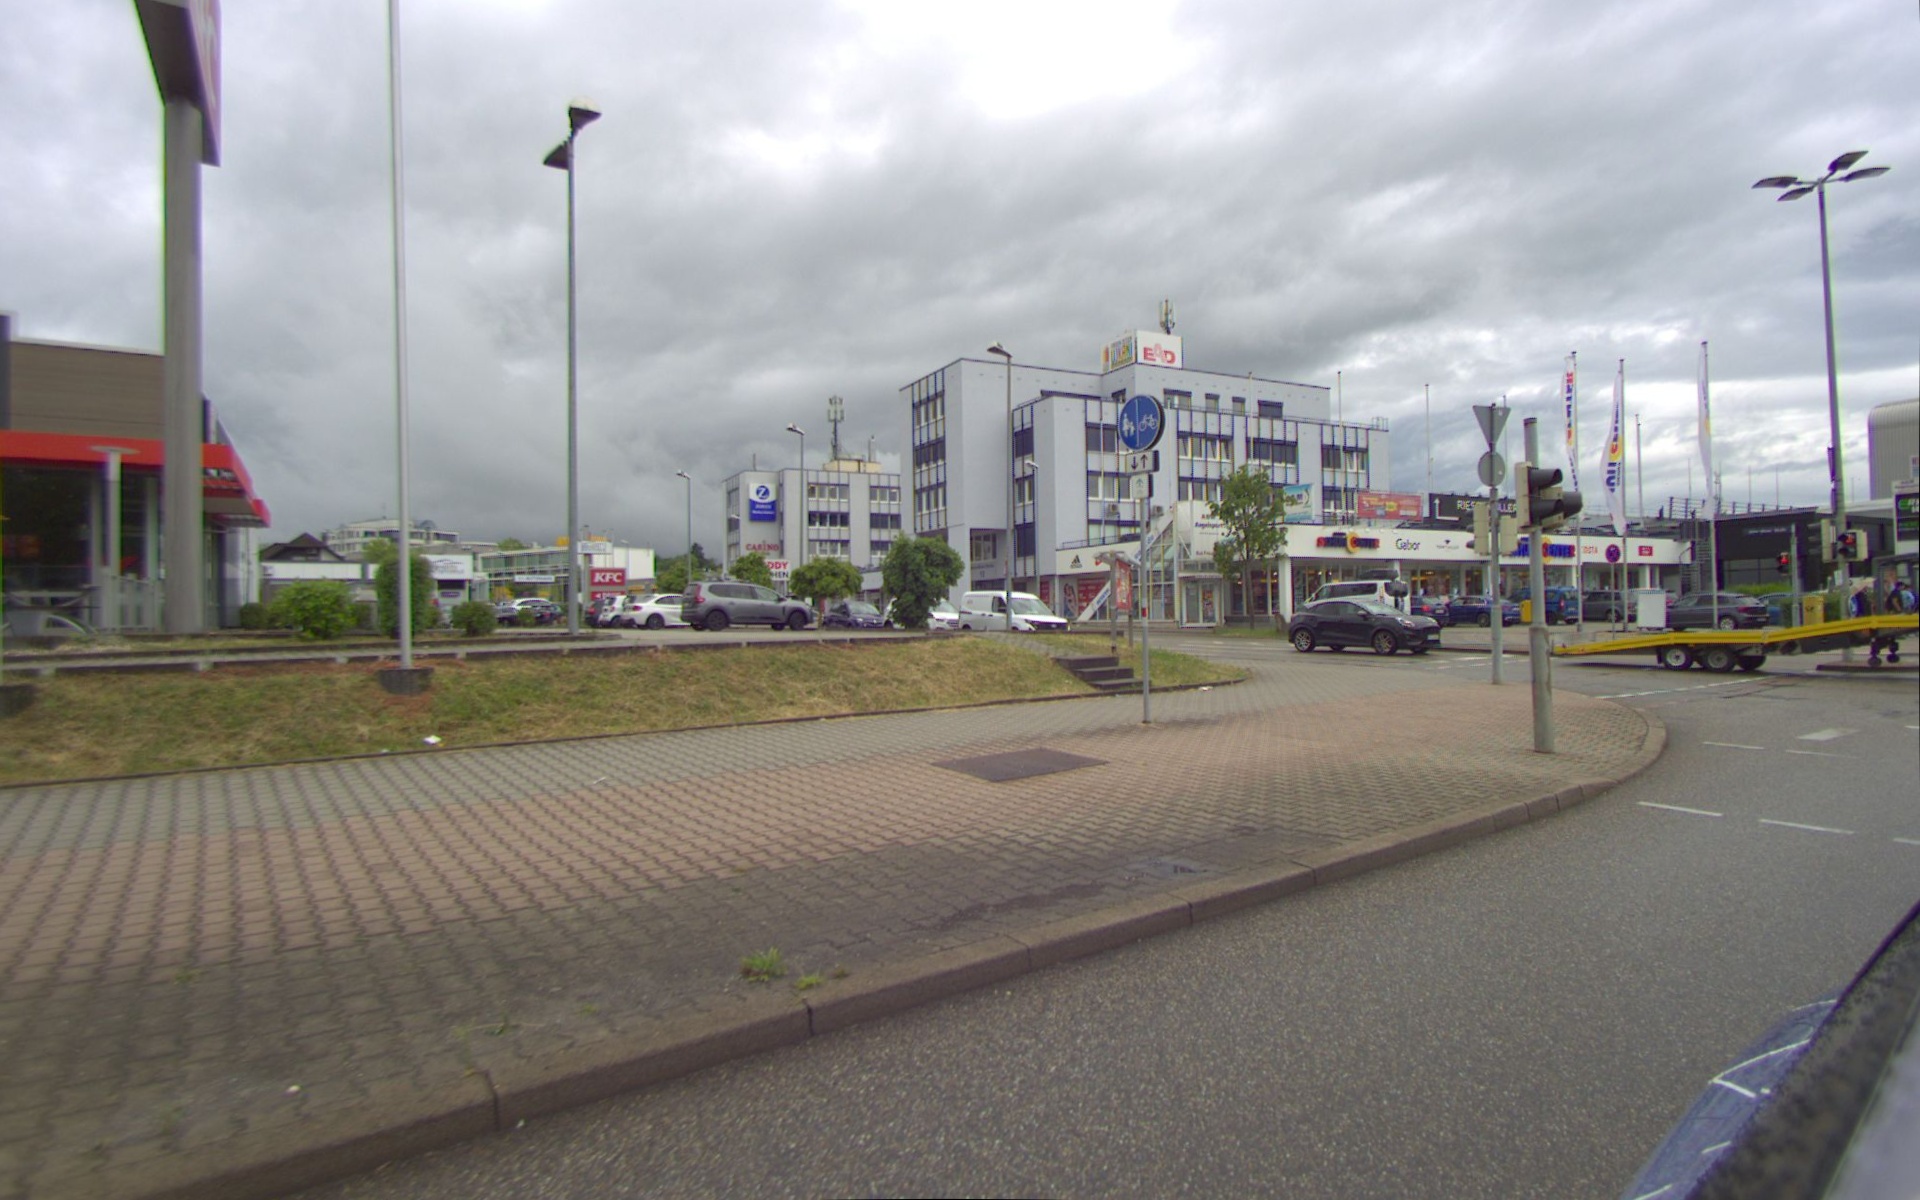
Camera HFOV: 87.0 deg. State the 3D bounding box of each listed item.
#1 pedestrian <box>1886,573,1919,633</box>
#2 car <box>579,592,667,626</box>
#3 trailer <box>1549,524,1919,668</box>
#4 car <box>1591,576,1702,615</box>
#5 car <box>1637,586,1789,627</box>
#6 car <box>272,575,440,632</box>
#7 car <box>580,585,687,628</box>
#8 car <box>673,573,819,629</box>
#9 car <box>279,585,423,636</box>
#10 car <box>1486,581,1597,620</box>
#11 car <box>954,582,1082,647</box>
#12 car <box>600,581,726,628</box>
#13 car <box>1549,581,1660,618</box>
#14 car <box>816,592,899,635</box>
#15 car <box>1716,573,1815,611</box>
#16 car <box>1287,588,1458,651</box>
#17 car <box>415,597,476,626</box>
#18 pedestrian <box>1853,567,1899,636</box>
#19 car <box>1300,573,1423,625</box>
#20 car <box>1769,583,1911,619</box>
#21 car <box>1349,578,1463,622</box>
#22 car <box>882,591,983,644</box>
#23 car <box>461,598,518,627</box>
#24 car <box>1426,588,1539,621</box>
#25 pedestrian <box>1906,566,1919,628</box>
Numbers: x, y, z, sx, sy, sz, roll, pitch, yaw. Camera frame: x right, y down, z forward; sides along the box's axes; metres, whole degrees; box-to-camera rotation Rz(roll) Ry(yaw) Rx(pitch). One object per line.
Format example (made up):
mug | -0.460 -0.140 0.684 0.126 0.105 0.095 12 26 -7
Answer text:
pedestrian | 29.926 0.081 31.968 0.683 1.879 0.817 -2 2 -27
car | -16.088 0.402 48.379 3.674 1.533 1.735 -1 0 -35
trailer | 16.381 -0.034 19.976 2.267 2.506 7.967 0 -1 -36
car | 35.266 -0.221 52.105 1.858 1.930 4.381 0 0 -27
car | 27.624 0.227 37.282 1.785 1.411 4.134 0 0 -24
car | -19.912 0.111 33.449 4.654 1.762 1.892 0 0 -36
car | -14.304 0.250 44.360 4.105 1.797 1.882 0 0 -34
car | -7.156 0.034 33.940 4.415 1.762 1.893 0 0 -33
car | -22.376 0.362 37.225 4.418 1.762 1.892 0 0 -36
car | 28.236 0.008 49.253 1.858 1.786 4.381 0 0 -27
car | 1.683 0.435 30.861 1.763 1.806 4.252 2 -1 -31
car | -11.708 0.177 40.015 4.418 1.762 1.892 0 0 -36
car | 32.605 -0.049 51.338 1.858 1.786 4.381 0 0 -27
car | -4.154 0.510 40.539 1.788 1.619 4.003 0 0 -31
car | 45.592 -0.451 57.373 1.871 2.039 4.007 0 0 -24
car | 11.256 0.497 27.831 1.780 1.560 3.999 -2 1 -35
car | -29.105 0.667 57.306 1.534 1.572 3.363 -1 -2 5
pedestrian | 27.362 0.044 30.246 0.805 2.039 0.693 0 0 20
car | 16.869 -0.044 42.784 1.959 2.039 4.794 0 0 -26
car | 37.094 0.039 42.751 1.860 1.411 4.132 0 0 -27
car | 19.521 -0.001 44.446 1.858 1.843 4.381 0 0 -27
car | -1.013 0.560 35.210 1.788 1.730 4.003 0 0 -31
car | -27.274 0.707 58.745 1.534 1.571 3.364 -1 0 5
car | 23.822 0.202 46.284 1.786 1.411 4.381 0 0 -27
pedestrian | 31.680 -0.088 33.206 0.683 2.039 0.742 0 -1 -28
